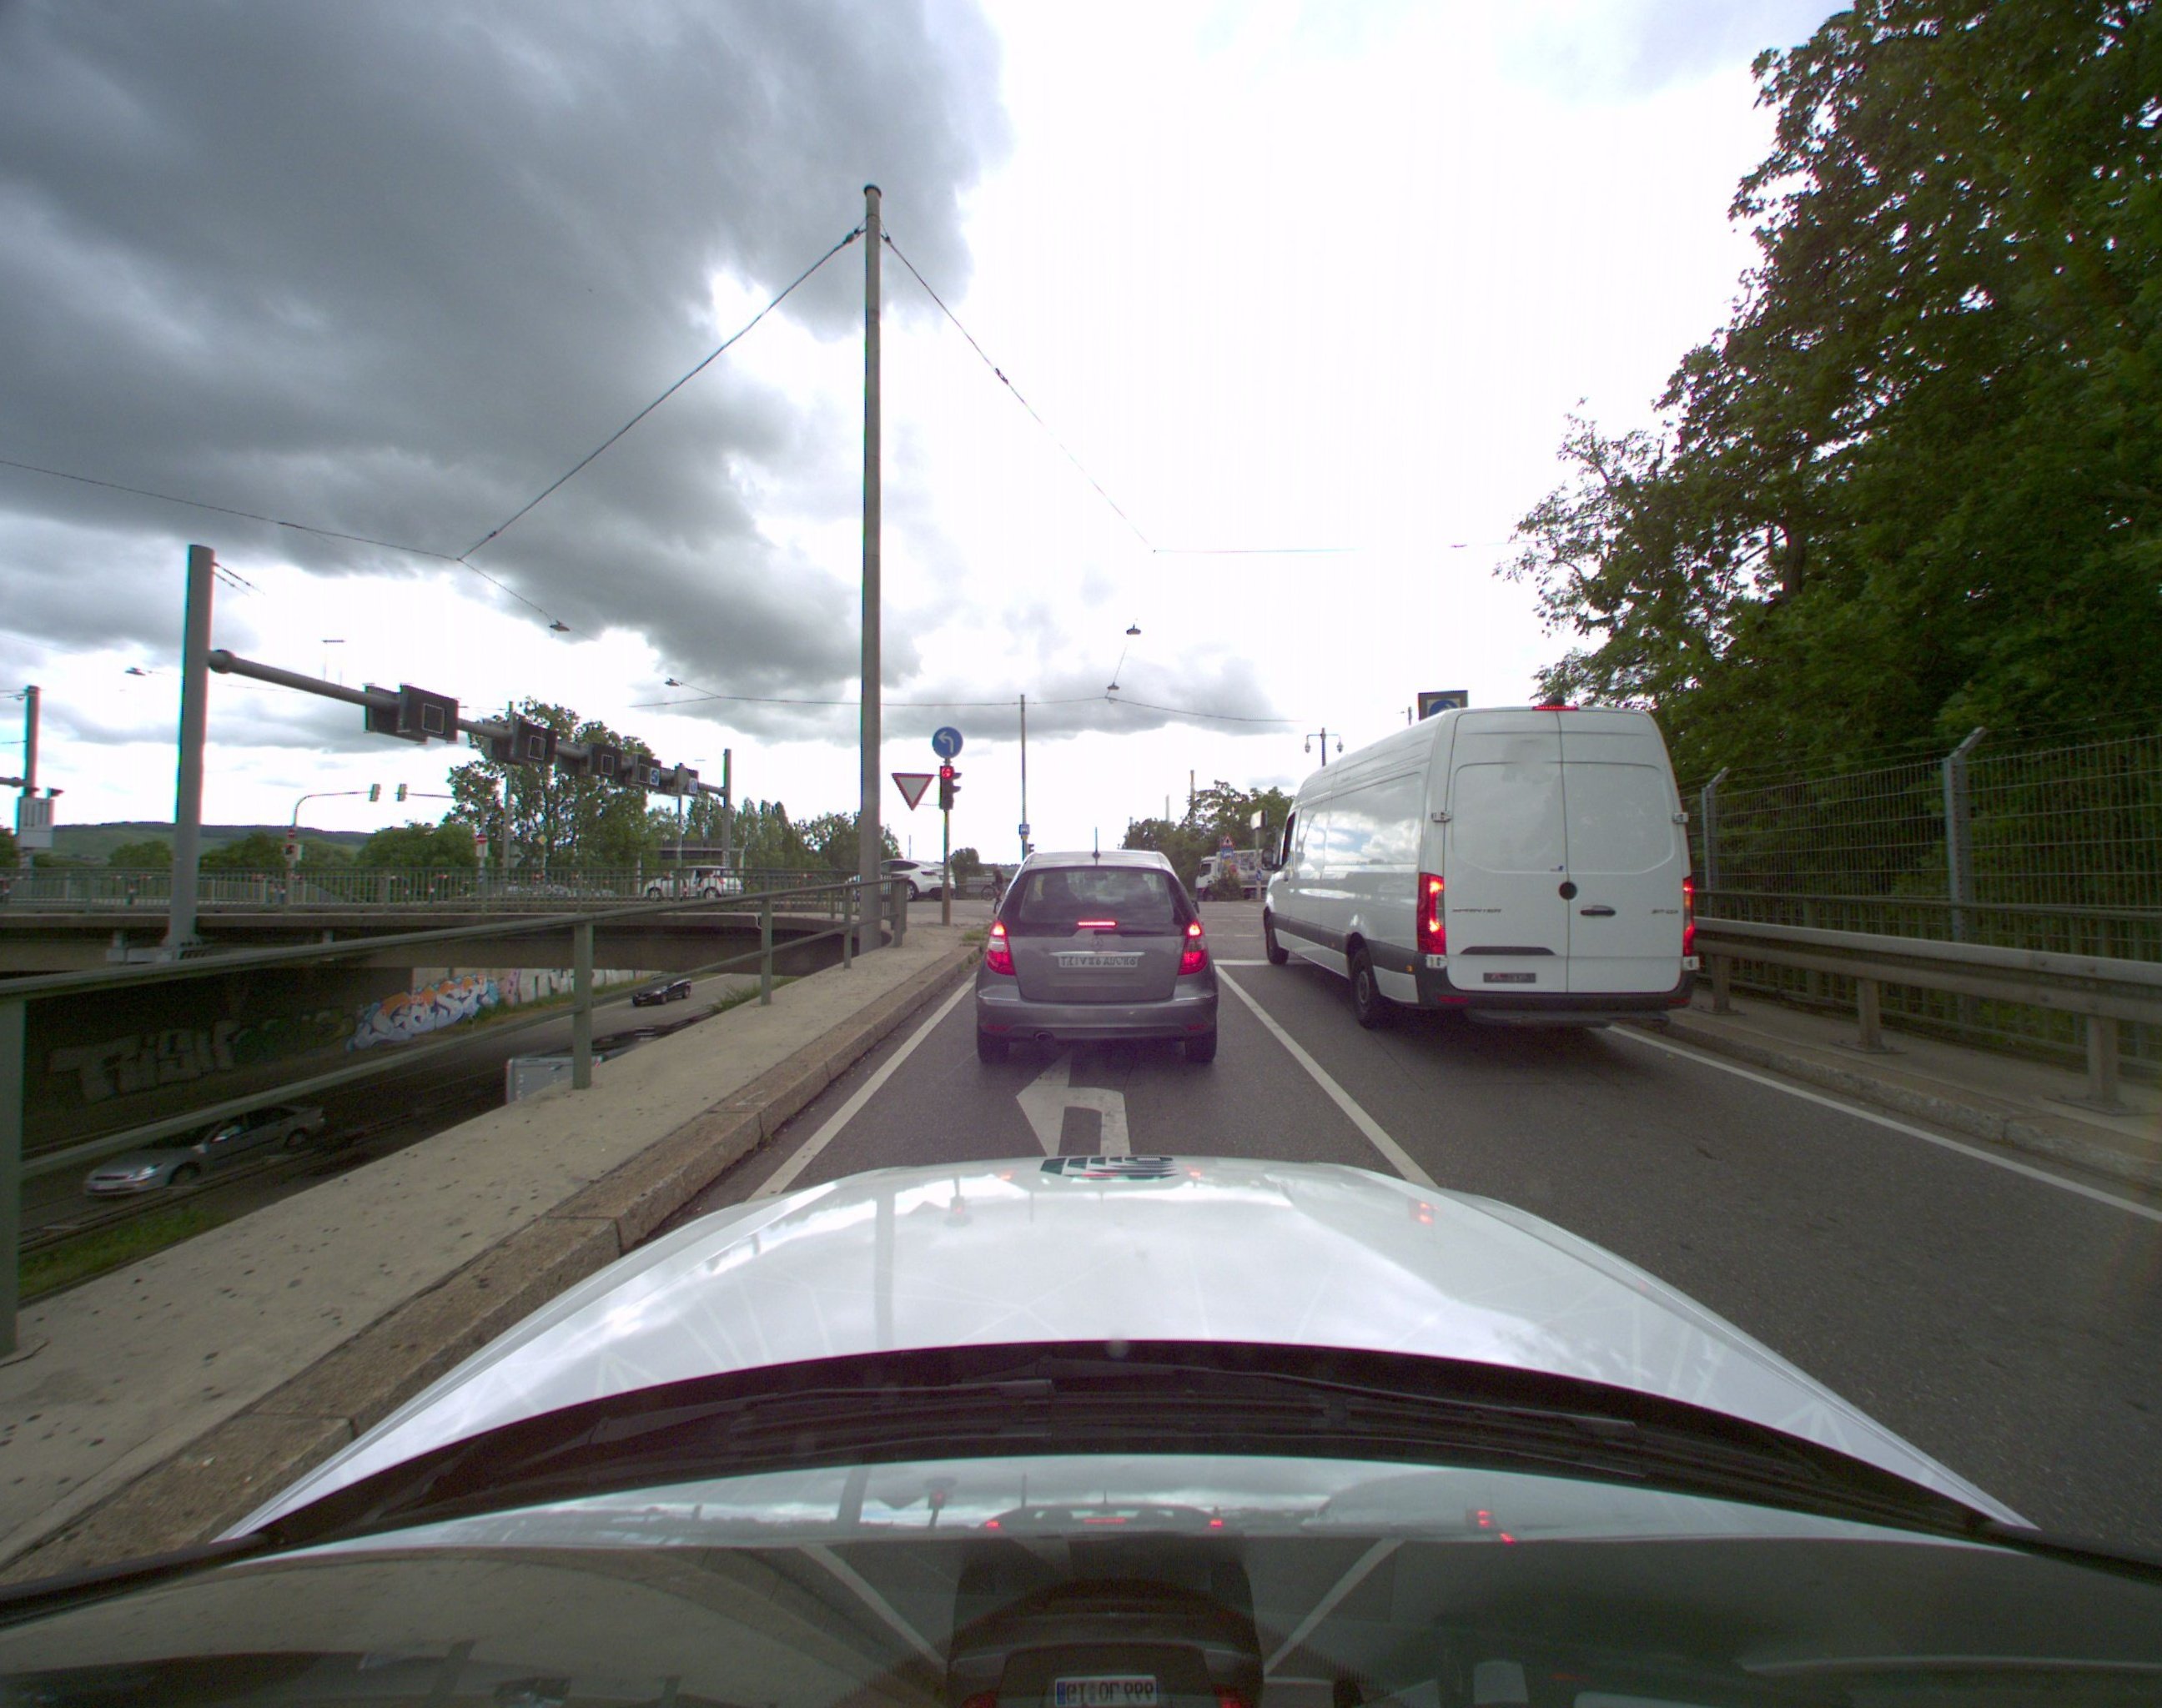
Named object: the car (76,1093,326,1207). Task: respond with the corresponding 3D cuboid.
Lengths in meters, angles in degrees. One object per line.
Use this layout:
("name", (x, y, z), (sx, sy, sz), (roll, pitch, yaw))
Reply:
("car", (-21.840, 7.302, 20.498), (1.722, 1.528, 4.087), (-1, -3, 2))

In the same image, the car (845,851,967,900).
("car", (-6.692, 0.795, 31.016), (4.349, 1.717, 1.950), (-1, 0, 32))

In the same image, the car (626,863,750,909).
("car", (-15.658, 1.258, 32.536), (3.967, 1.717, 1.941), (-1, 0, 6))

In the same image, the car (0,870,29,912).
("car", (-46.443, 1.566, 33.405), (3.974, 1.717, 1.937), (-1, 0, 0))

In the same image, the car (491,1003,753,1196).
("car", (-11.942, 6.259, 22.266), (2.351, 3.241, 7.666), (-2, -3, 4))

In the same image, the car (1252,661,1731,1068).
("car", (3.553, 0.052, 9.037), (2.102, 2.783, 6.784), (-1, 0, 2))

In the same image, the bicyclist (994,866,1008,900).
("bicyclist", (-4.000, 1.453, 40.711), (0.653, 1.673, 0.867), (-1, 0, -9))

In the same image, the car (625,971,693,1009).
("car", (-26.933, 8.639, 52.115), (1.924, 1.841, 4.410), (-2, -3, 1))

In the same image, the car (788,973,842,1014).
("car", (-15.234, 7.975, 46.773), (1.836, 1.713, 4.273), (-3, -3, -3))

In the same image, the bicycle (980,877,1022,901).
("bicycle", (-4.006, 1.738, 40.697), (2.032, 1.124, 0.926), (-1, 0, -10))

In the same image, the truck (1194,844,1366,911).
("truck", (11.363, 1.267, 47.793), (2.812, 3.518, 10.129), (-1, 0, -39))

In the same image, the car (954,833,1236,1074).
("car", (0.229, 0.644, 7.419), (1.849, 1.588, 4.005), (-1, 1, 4))
